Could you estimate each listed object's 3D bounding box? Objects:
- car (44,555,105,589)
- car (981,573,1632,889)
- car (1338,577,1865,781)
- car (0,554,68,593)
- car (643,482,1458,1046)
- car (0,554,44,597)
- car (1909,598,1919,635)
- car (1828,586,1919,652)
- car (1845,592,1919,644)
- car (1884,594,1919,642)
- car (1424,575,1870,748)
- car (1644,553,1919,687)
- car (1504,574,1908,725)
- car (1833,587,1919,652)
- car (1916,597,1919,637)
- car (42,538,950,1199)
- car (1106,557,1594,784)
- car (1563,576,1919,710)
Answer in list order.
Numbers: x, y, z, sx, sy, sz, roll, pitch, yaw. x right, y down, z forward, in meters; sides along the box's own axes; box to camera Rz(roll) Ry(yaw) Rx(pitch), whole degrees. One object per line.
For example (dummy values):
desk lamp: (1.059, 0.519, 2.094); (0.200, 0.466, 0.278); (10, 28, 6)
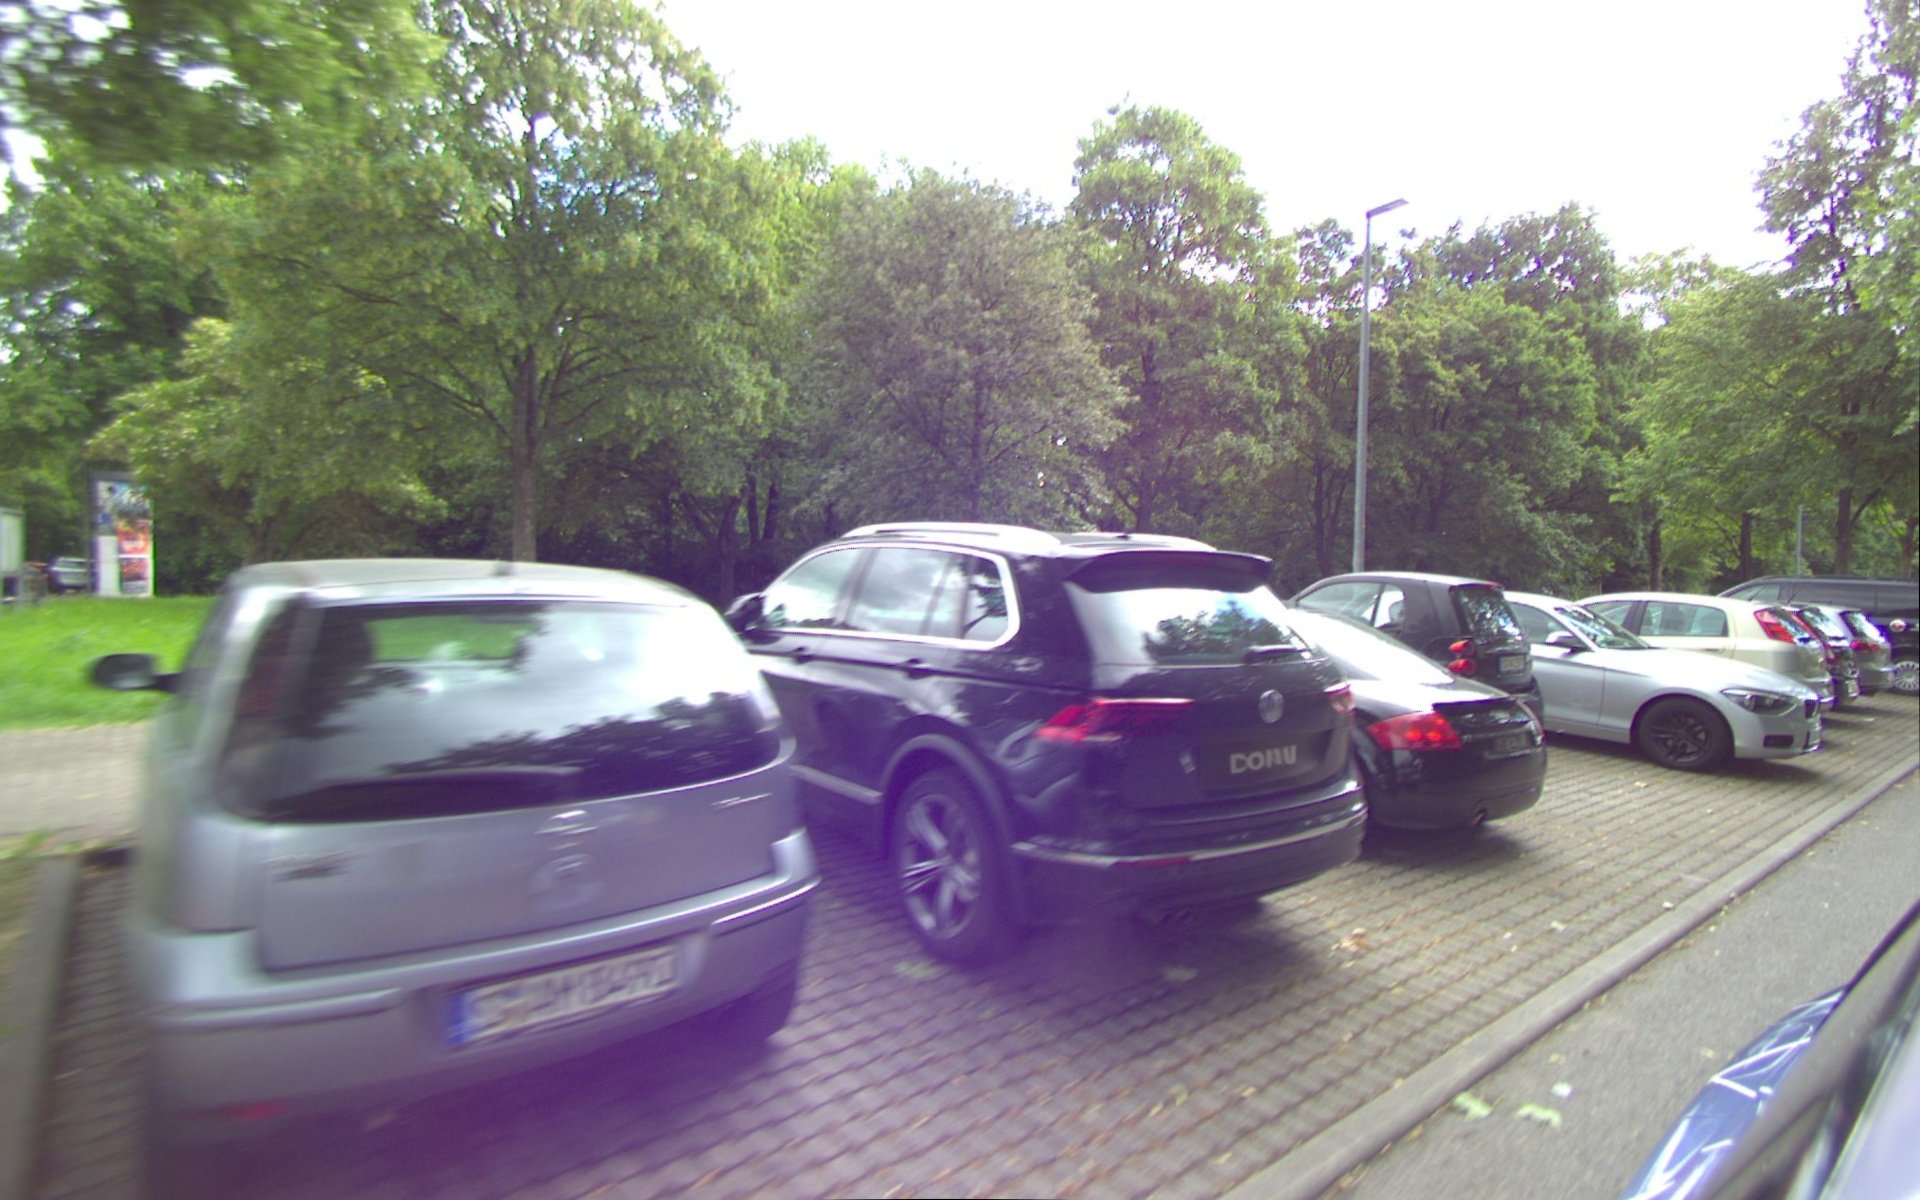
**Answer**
car: (-44.611, -1.408, 51.080); (1.670, 1.650, 4.300); (0, 2, -32)
car: (2.017, 0.581, 6.891); (1.788, 1.375, 3.846); (0, 3, -36)
car: (6.114, 0.575, 10.040); (1.901, 1.447, 3.997); (0, 3, -40)
car: (-38.688, -1.126, 42.141); (1.670, 1.545, 4.300); (0, 2, -32)
car: (0.011, 0.371, 5.233); (1.943, 1.670, 4.138); (0, 3, -36)
car: (-35.914, -0.935, 37.903); (1.670, 1.545, 4.300); (0, 2, -32)
car: (40.641, 0.766, 39.882); (1.813, 1.472, 4.497); (0, 3, -39)
car: (25.105, 0.523, 26.435); (1.764, 1.593, 3.388); (1, 2, -39)
car: (30.847, 0.641, 31.476); (1.946, 1.536, 4.651); (1, 2, -38)
car: (33.118, 0.687, 33.108); (1.820, 1.536, 4.078); (0, 3, -43)
car: (7.919, 0.556, 12.007); (1.778, 1.546, 3.998); (0, 3, -39)
car: (15.501, 0.290, 18.059); (2.126, 2.038, 4.970); (1, 3, -38)
car: (9.801, 0.528, 13.590); (1.730, 1.529, 3.974); (1, 3, -37)
car: (27.200, 0.602, 27.885); (2.045, 1.696, 4.426); (1, 2, -40)
car: (36.932, 0.740, 35.952); (1.818, 1.474, 4.084); (0, 3, -39)
car: (-1.926, 0.524, 3.715); (1.818, 1.420, 3.844); (0, 3, -38)
car: (3.416, 0.444, 9.453); (1.787, 1.577, 3.842); (0, 3, -40)
car: (11.541, 0.525, 15.089); (1.761, 1.529, 3.973); (1, 3, -38)
